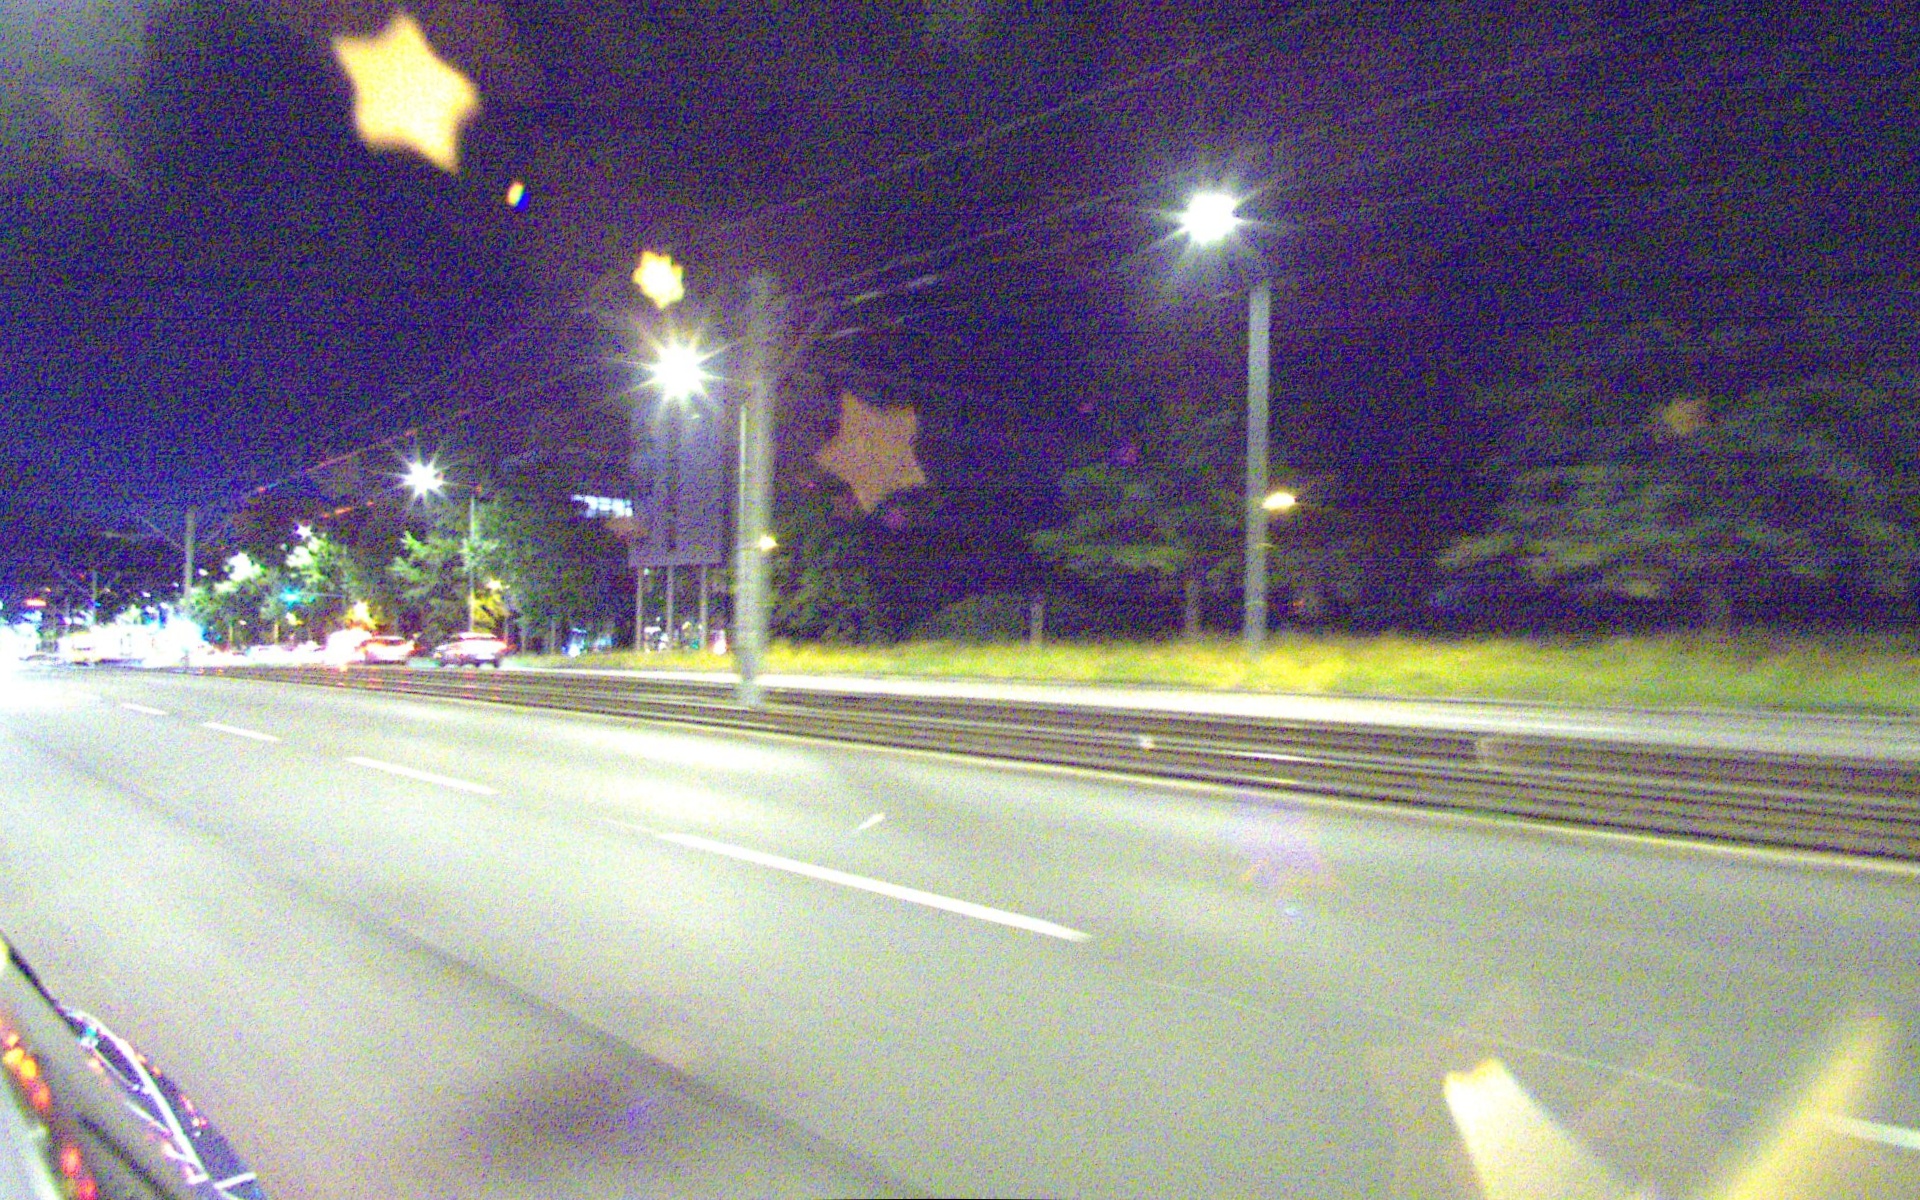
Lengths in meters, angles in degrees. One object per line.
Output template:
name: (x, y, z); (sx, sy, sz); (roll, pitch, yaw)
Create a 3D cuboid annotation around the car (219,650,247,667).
car: (-68.643, 5.521, 95.570); (1.640, 1.528, 3.914); (1, -2, -43)

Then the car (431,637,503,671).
car: (-23.316, 2.527, 47.815); (1.839, 1.526, 4.619); (3, -4, -42)

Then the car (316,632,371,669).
car: (-47.134, 3.836, 77.340); (2.120, 2.691, 6.969); (5, -5, -43)

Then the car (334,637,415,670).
car: (-27.543, 2.479, 47.524); (4.955, 1.439, 1.846); (-2, -2, 42)

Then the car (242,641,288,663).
car: (-46.019, 3.440, 66.964); (4.338, 1.451, 1.602); (-3, -4, 44)

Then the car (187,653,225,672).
car: (-63.945, 5.272, 85.799); (4.173, 1.508, 1.766); (-1, -1, 42)

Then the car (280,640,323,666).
car: (-46.934, 3.740, 72.098); (4.229, 1.726, 1.759); (-3, -2, 45)

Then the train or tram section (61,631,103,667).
train or tram section: (-103.121, 5.757, 118.710); (2.726, 3.856, 18.684); (1, -3, -44)
